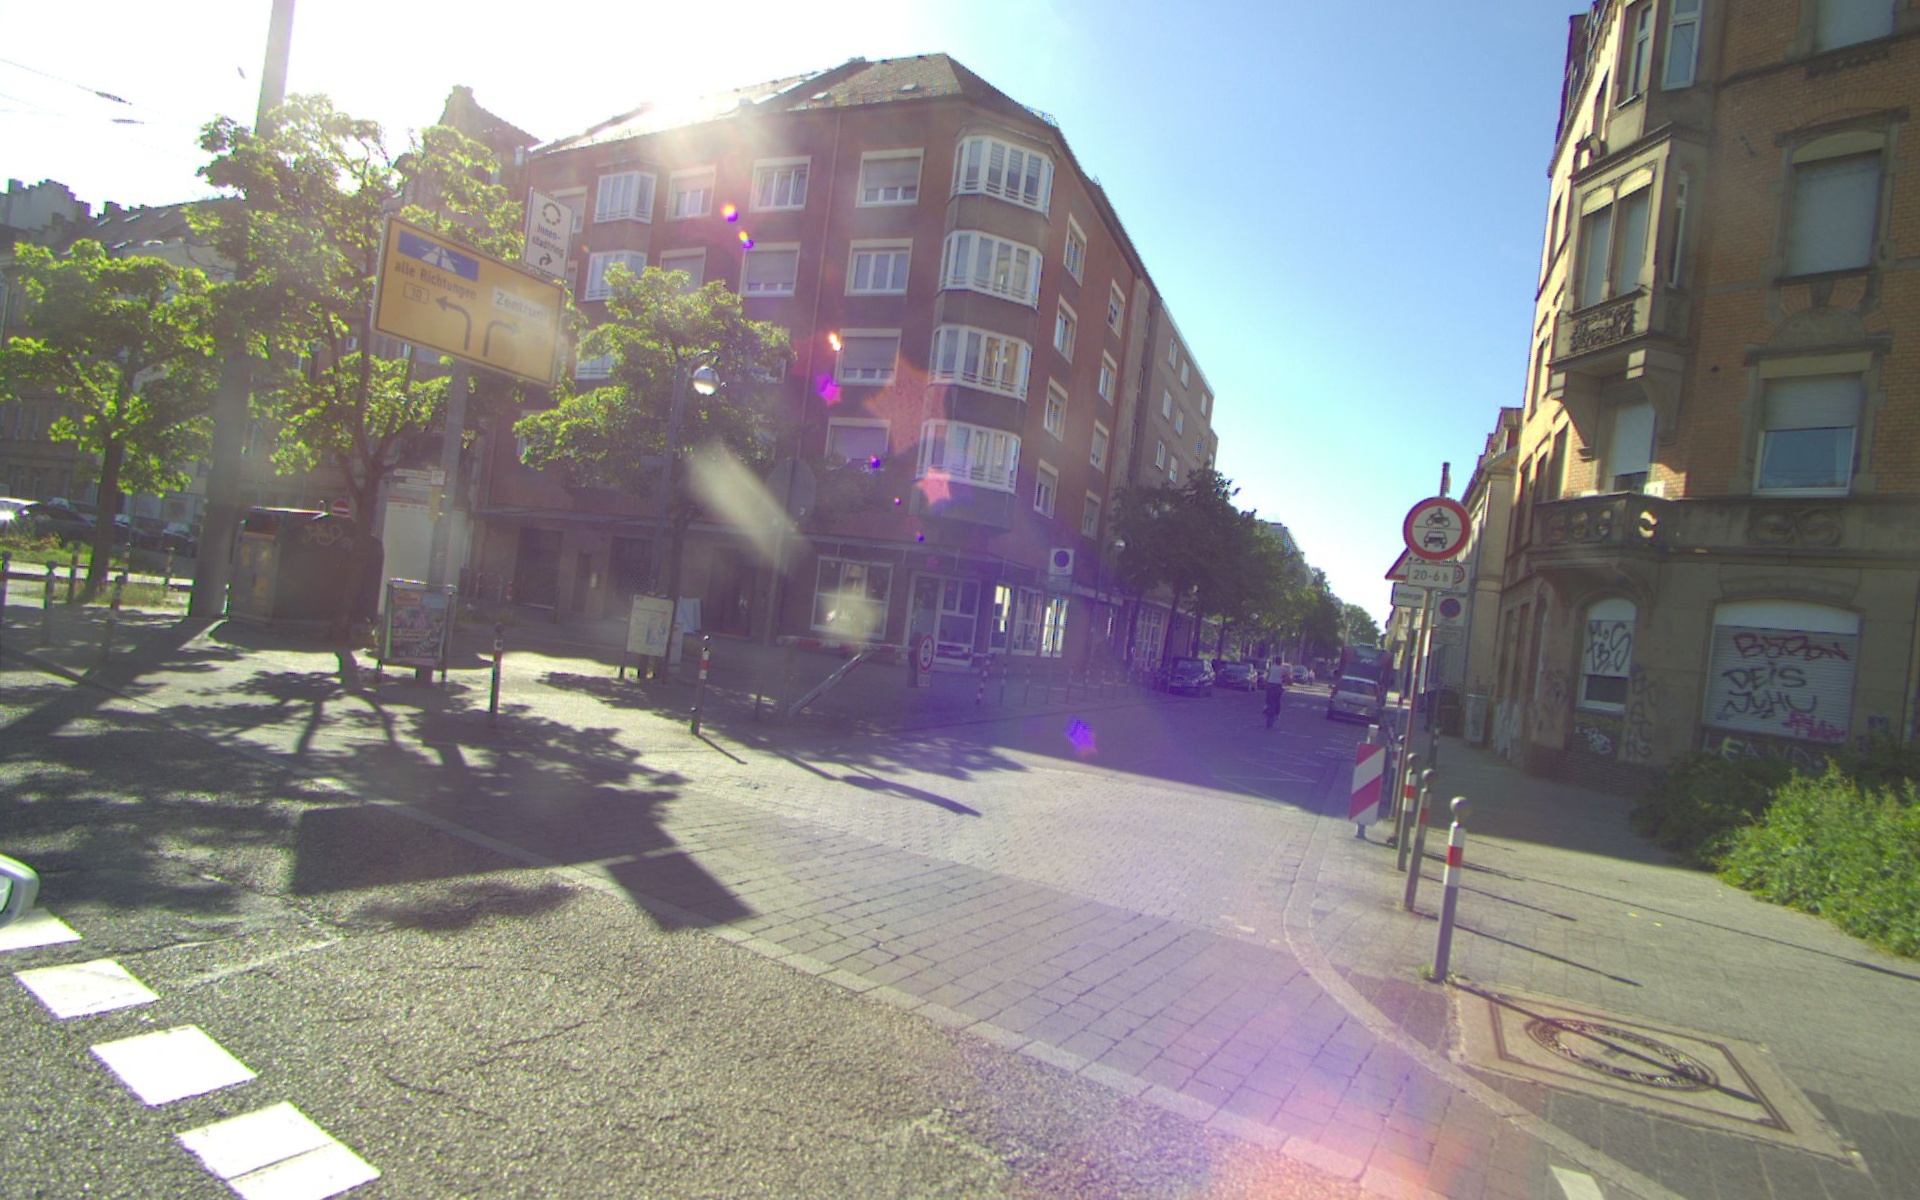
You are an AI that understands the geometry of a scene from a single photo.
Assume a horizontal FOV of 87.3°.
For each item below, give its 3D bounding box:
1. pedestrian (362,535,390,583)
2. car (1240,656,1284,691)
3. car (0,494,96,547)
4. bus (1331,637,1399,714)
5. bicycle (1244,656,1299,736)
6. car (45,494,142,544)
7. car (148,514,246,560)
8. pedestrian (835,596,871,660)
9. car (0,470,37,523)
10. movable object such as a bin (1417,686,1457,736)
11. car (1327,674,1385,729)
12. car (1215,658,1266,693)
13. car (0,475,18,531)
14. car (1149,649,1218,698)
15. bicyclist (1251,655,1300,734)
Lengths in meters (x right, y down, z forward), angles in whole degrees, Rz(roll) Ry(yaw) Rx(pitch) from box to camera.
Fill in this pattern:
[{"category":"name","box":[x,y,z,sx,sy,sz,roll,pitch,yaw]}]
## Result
[{"category":"pedestrian","box":[-22.968,-1.618,39.596,0.605,1.780,0.570,7,1,31]},{"category":"car","box":[18.640,4.510,61.972,1.964,1.815,3.999,7,-1,23]},{"category":"car","box":[-30.689,-2.617,32.181,1.984,1.453,4.875,7,1,-4]},{"category":"bus","box":[19.204,3.580,47.520,2.379,3.104,6.264,7,-1,25]},{"category":"bicycle","box":[7.519,2.275,24.209,0.991,1.700,2.142,7,-1,19]},{"category":"car","box":[-42.047,-3.933,48.821,4.546,1.823,1.997,8,1,28]},{"category":"car","box":[-33.038,-2.723,43.560,4.219,1.438,1.731,8,0,29]},{"category":"pedestrian","box":[-3.104,0.815,29.191,0.631,1.781,0.592,7,0,29]},{"category":"car","box":[-52.059,-5.728,54.265,4.436,2.618,1.996,8,2,30]},{"category":"movable object such as a bin","box":[15.575,3.599,32.875,1.017,1.462,1.218,7,0,25]},{"category":"car","box":[13.605,3.429,34.574,1.605,1.563,4.001,7,-1,22]},{"category":"car","box":[15.092,4.046,54.032,1.964,1.570,3.999,7,-1,23]},{"category":"car","box":[-36.934,-3.746,36.019,1.985,2.101,4.873,7,1,-6]},{"category":"car","box":[8.756,2.855,39.210,1.817,1.593,4.000,7,-1,23]},{"category":"bicyclist","box":[7.593,2.259,24.208,0.903,1.746,1.051,7,0,19]}]
